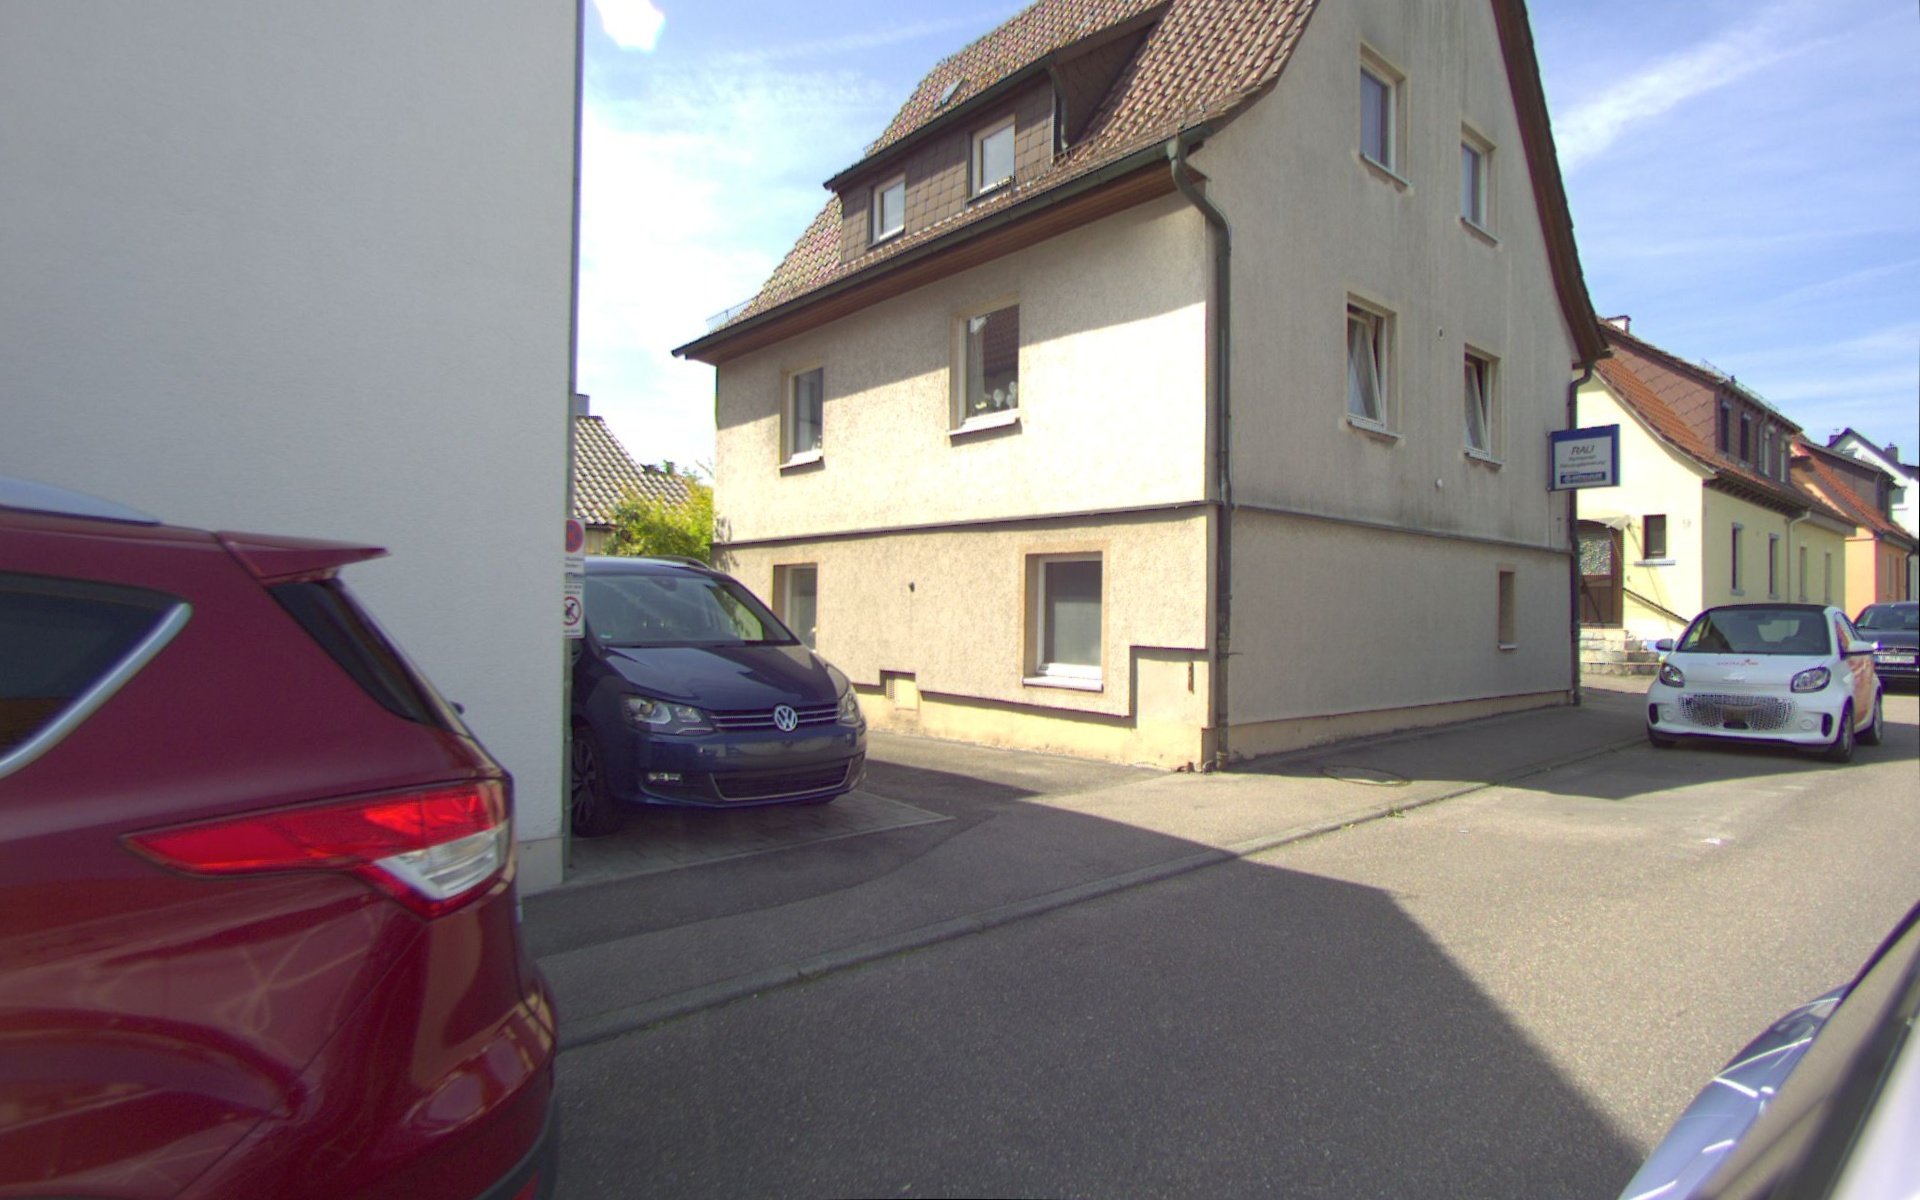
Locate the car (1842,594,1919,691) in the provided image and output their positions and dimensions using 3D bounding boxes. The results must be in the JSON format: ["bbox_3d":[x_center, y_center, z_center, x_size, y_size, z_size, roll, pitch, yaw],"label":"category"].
[{"bbox_3d":[17.490,0.718,18.264,4.178,1.620,1.731,0,-1,-40],"label":"car"}]

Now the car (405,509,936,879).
[{"bbox_3d":[-2.393,0.483,7.453,1.966,1.866,4.520,0,-1,-43],"label":"car"}]

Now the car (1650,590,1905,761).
[{"bbox_3d":[8.954,0.709,11.031,2.987,1.579,1.676,0,-1,-41],"label":"car"}]

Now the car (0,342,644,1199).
[{"bbox_3d":[-2.638,0.597,0.918,4.109,1.722,1.879,0,-1,-40],"label":"car"}]

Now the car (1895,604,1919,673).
[{"bbox_3d":[21.681,0.802,22.000,3.689,1.449,1.613,0,-1,-42],"label":"car"}]

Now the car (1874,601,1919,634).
[{"bbox_3d":[49.888,0.901,51.762,1.811,1.674,4.309,0,-1,-32],"label":"car"}]
